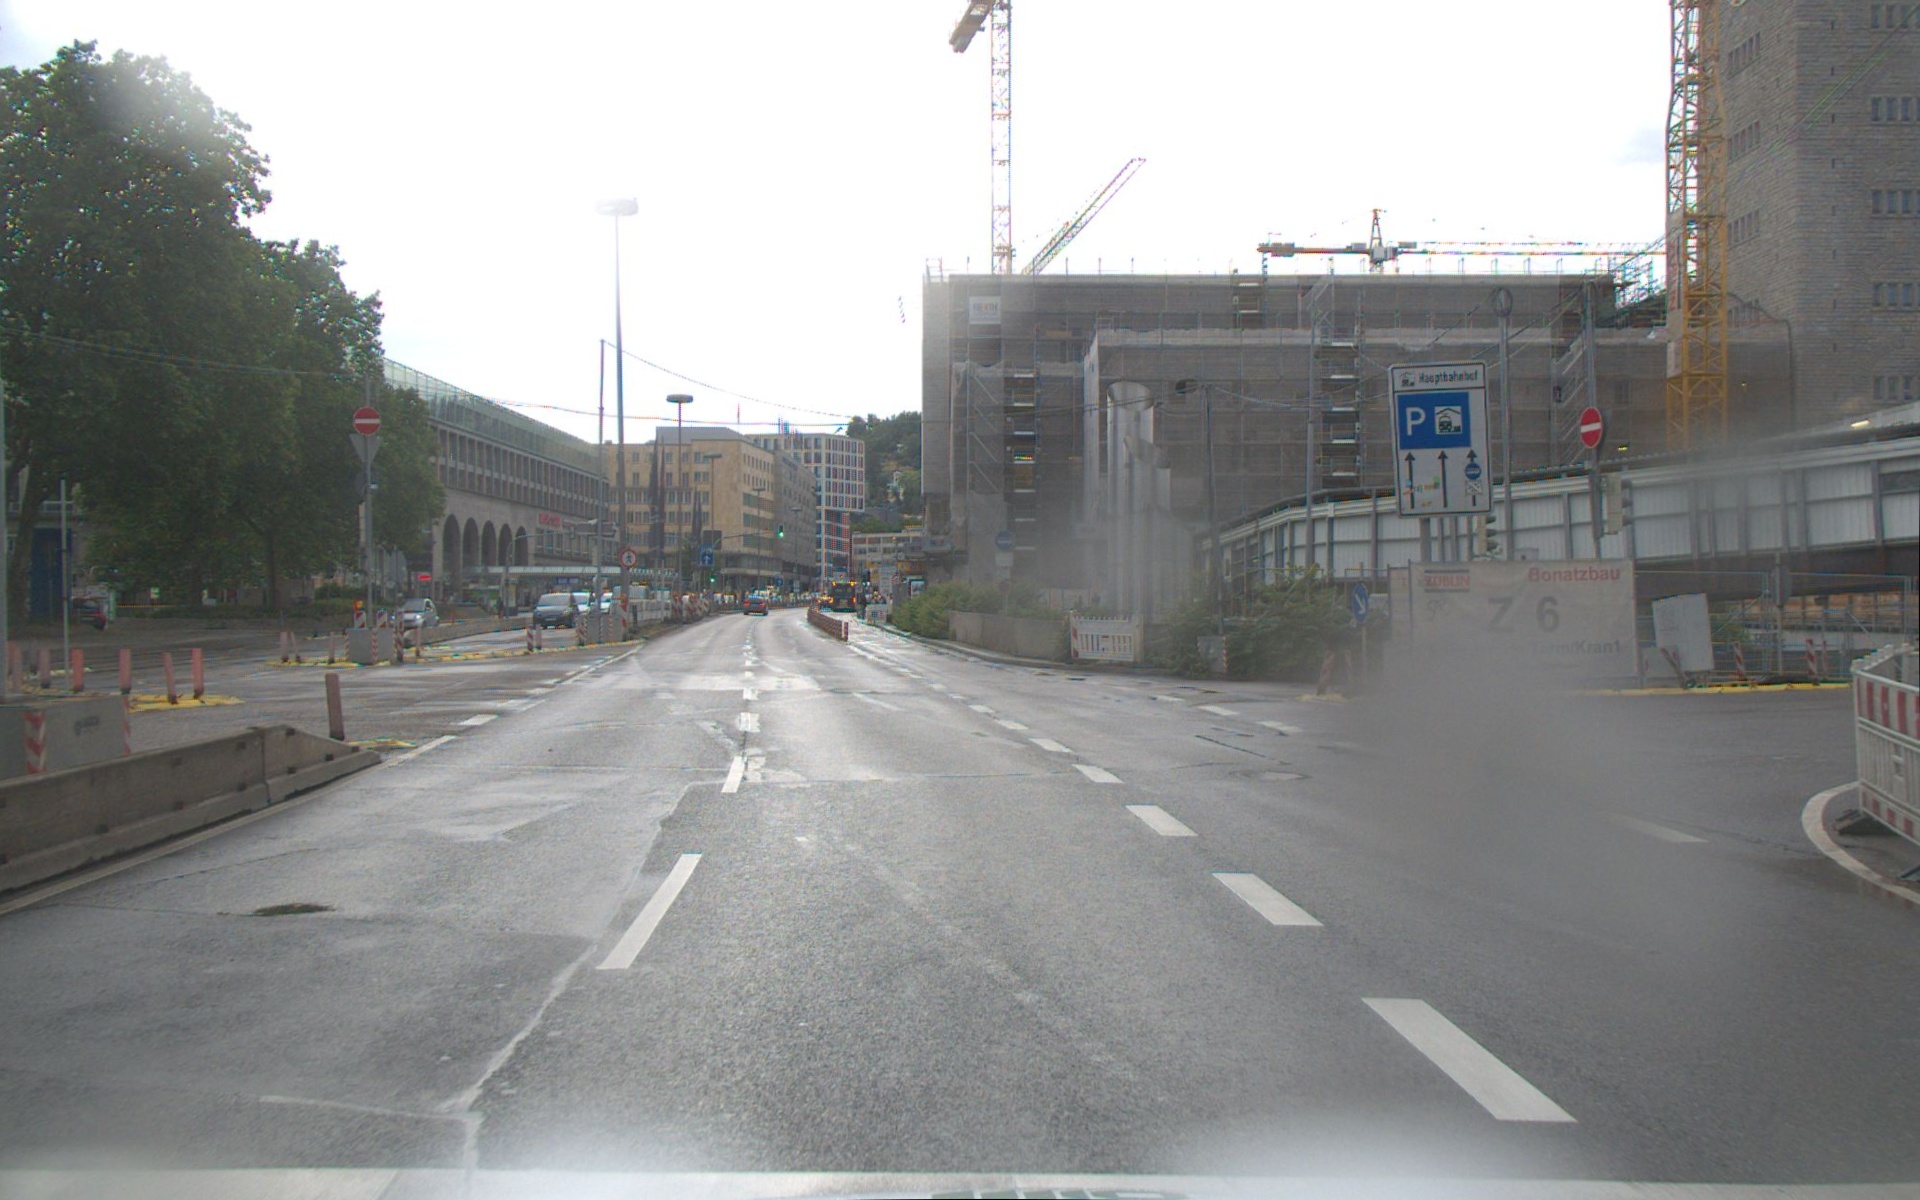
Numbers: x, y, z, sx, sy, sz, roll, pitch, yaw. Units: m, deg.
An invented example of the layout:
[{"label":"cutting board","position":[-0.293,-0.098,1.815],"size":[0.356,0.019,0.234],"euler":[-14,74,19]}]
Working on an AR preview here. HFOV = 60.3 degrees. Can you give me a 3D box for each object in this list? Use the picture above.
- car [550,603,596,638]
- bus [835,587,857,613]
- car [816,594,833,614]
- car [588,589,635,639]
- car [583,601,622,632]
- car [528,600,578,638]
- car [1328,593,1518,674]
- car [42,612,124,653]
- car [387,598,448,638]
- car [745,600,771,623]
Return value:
[{"label":"car","position":[-19.421,1.071,83.198],"size":[1.867,1.555,4.168],"euler":[-2,-3,-9]},{"label":"bus","position":[-11.877,0.040,172.096],"size":[1.953,2.474,3.998],"euler":[-2,-3,-1]},{"label":"car","position":[-15.885,0.501,193.801],"size":[1.955,2.049,3.995],"euler":[-2,-3,-5]},{"label":"car","position":[-16.319,0.677,77.628],"size":[1.867,2.119,4.168],"euler":[-2,-3,-9]},{"label":"car","position":[-19.980,0.948,92.579],"size":[1.867,1.555,4.168],"euler":[-2,-3,-9]},{"label":"car","position":[-19.018,0.897,77.408],"size":[1.867,1.555,4.168],"euler":[-2,-3,-9]},{"label":"car","position":[13.450,0.921,48.195],"size":[4.791,2.169,2.340],"euler":[1,0,42]},{"label":"car","position":[-37.221,1.370,70.147],"size":[3.935,1.555,1.896],"euler":[-4,-4,43]},{"label":"car","position":[-24.134,0.817,73.664],"size":[1.867,1.555,4.168],"euler":[-2,-3,-9]},{"label":"car","position":[-15.971,0.901,130.695],"size":[1.867,1.555,4.168],"euler":[-2,-3,-9]}]
